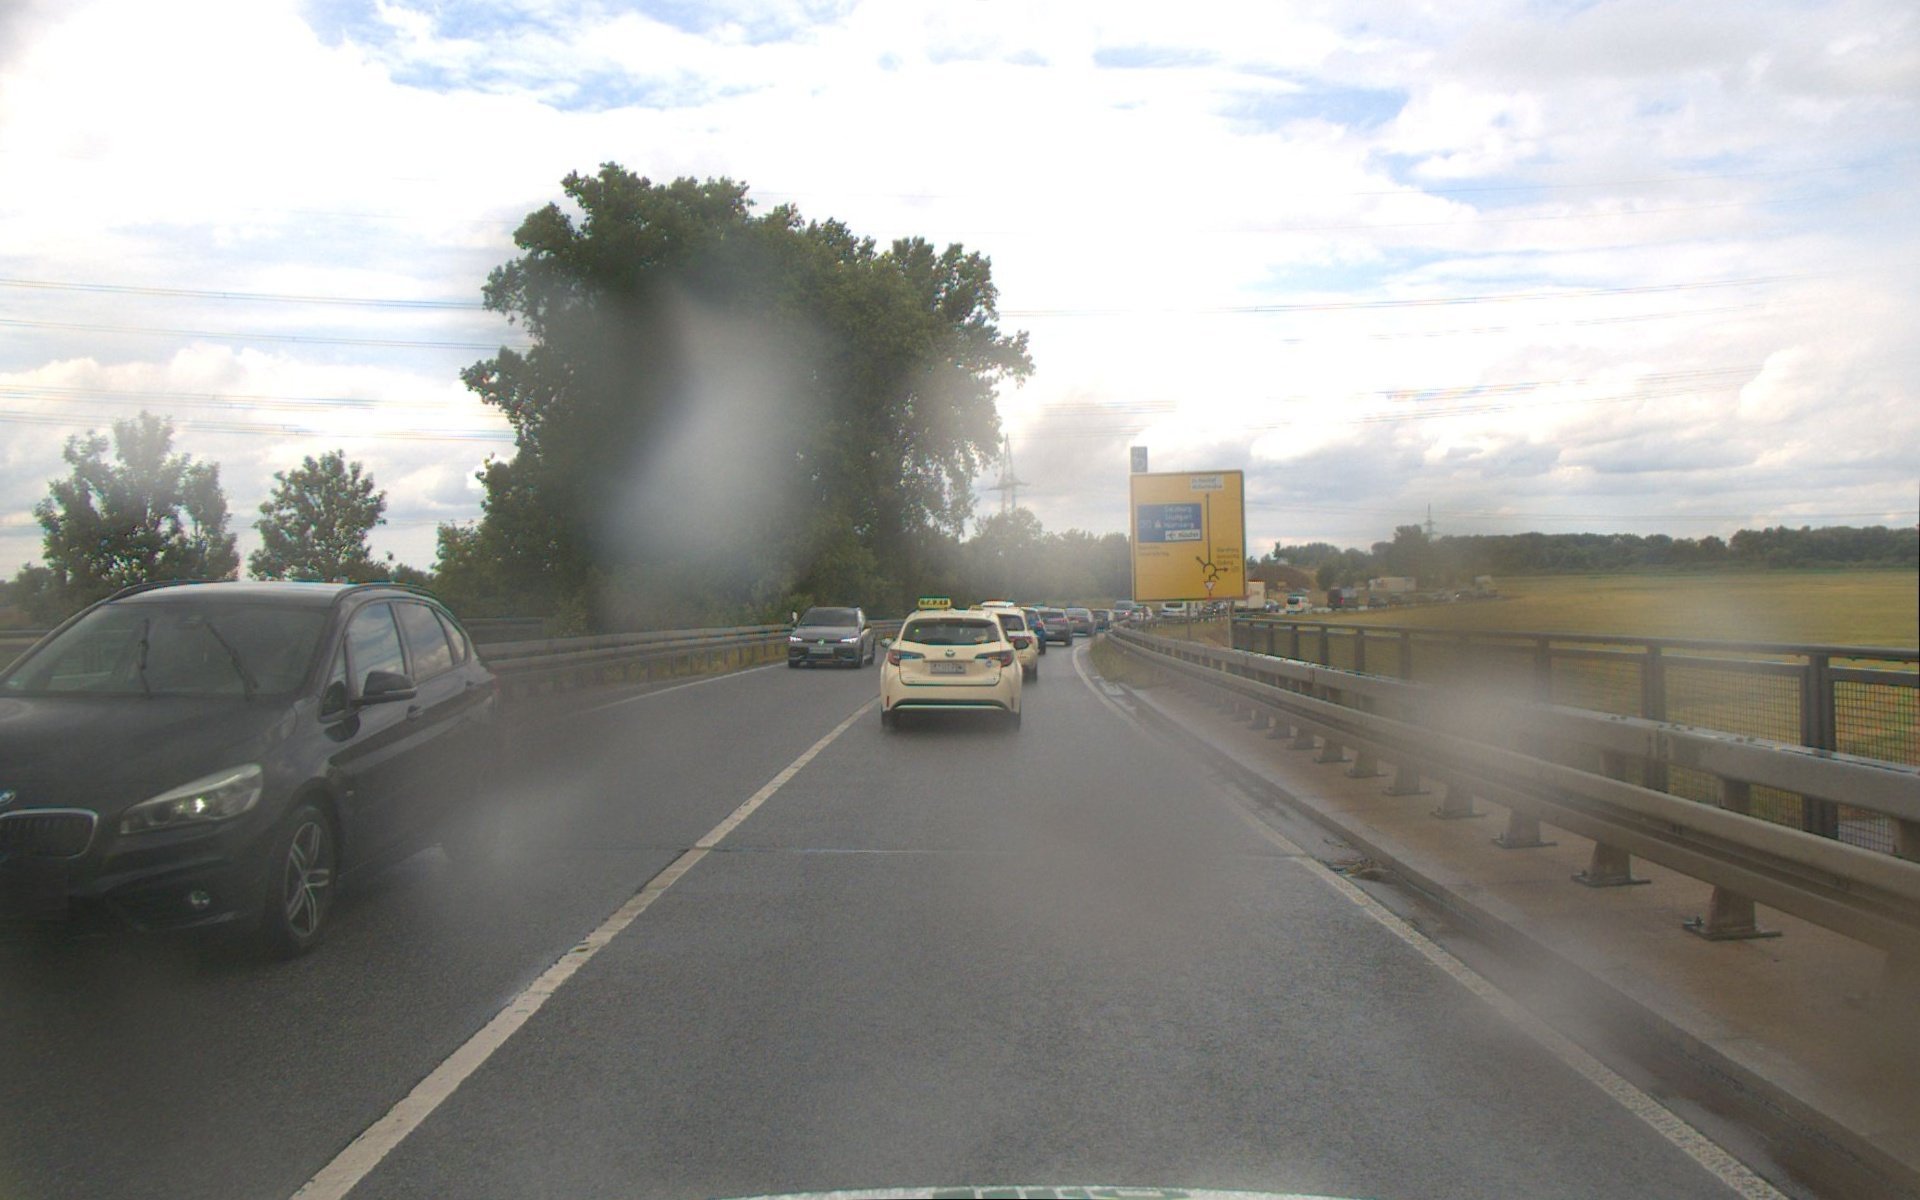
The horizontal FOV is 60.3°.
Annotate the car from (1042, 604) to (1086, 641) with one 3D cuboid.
[{"bbox_3d":[4.287,0.930,68.061,1.630,1.490,3.479,0,-1,6],"label":"car"}]

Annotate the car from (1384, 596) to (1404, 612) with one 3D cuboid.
[{"bbox_3d":[58.077,0.527,221.359,1.954,2.049,3.996,0,-1,26],"label":"car"}]

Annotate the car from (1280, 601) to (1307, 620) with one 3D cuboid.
[{"bbox_3d":[37.825,1.198,187.695,2.123,2.049,3.997,0,-1,24],"label":"car"}]

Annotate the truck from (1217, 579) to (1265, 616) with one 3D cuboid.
[{"bbox_3d":[28.453,-0.221,167.035,3.076,3.624,7.518,0,-1,23],"label":"truck"}]

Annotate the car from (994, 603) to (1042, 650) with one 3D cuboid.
[{"bbox_3d":[1.866,0.862,54.310,1.475,1.462,3.355,1,-1,1],"label":"car"}]

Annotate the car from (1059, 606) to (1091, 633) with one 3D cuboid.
[{"bbox_3d":[6.357,1.073,91.273,1.625,1.434,3.906,0,-1,6],"label":"car"}]

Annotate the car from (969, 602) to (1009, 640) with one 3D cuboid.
[{"bbox_3d":[1.555,1.062,87.481,1.822,1.925,4.492,0,0,5],"label":"car"}]

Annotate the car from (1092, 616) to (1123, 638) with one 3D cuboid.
[{"bbox_3d":[9.491,1.738,106.419,1.451,1.332,3.479,0,-1,14],"label":"car"}]

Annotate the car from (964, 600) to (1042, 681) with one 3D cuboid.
[{"bbox_3d":[0.937,0.818,34.674,1.545,1.600,3.682,0,-1,3],"label":"car"}]

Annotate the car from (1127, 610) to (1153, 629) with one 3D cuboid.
[{"bbox_3d":[13.516,1.468,124.080,1.451,1.332,3.479,0,-1,15],"label":"car"}]

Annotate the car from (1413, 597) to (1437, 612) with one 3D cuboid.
[{"bbox_3d":[64.835,0.601,230.661,1.959,2.049,3.986,0,-1,35],"label":"car"}]

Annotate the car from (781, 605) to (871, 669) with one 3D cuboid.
[{"bbox_3d":[-3.241,0.884,40.685,1.797,1.468,4.103,1,-1,1],"label":"car"}]

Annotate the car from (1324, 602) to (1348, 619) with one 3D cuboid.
[{"bbox_3d":[45.913,1.274,202.007,1.955,2.049,3.995,0,-1,27],"label":"car"}]

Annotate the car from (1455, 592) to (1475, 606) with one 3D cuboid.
[{"bbox_3d":[76.189,-0.214,249.383,1.732,2.049,3.986,0,0,35],"label":"car"}]

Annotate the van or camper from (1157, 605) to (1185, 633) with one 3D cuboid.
[{"bbox_3d":[17.801,1.647,139.411,1.951,2.293,4.003,1,-1,14],"label":"van or camper"}]

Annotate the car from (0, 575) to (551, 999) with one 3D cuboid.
[{"bbox_3d":[-3.513,0.691,8.206,1.860,1.568,4.023,1,0,1],"label":"car"}]

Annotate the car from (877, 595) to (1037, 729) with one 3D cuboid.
[{"bbox_3d":[-0.051,0.759,21.574,1.867,1.564,4.161,1,-1,-1],"label":"car"}]

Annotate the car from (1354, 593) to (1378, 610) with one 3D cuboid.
[{"bbox_3d":[52.555,0.231,214.185,2.182,2.049,3.996,0,-1,26],"label":"car"}]
